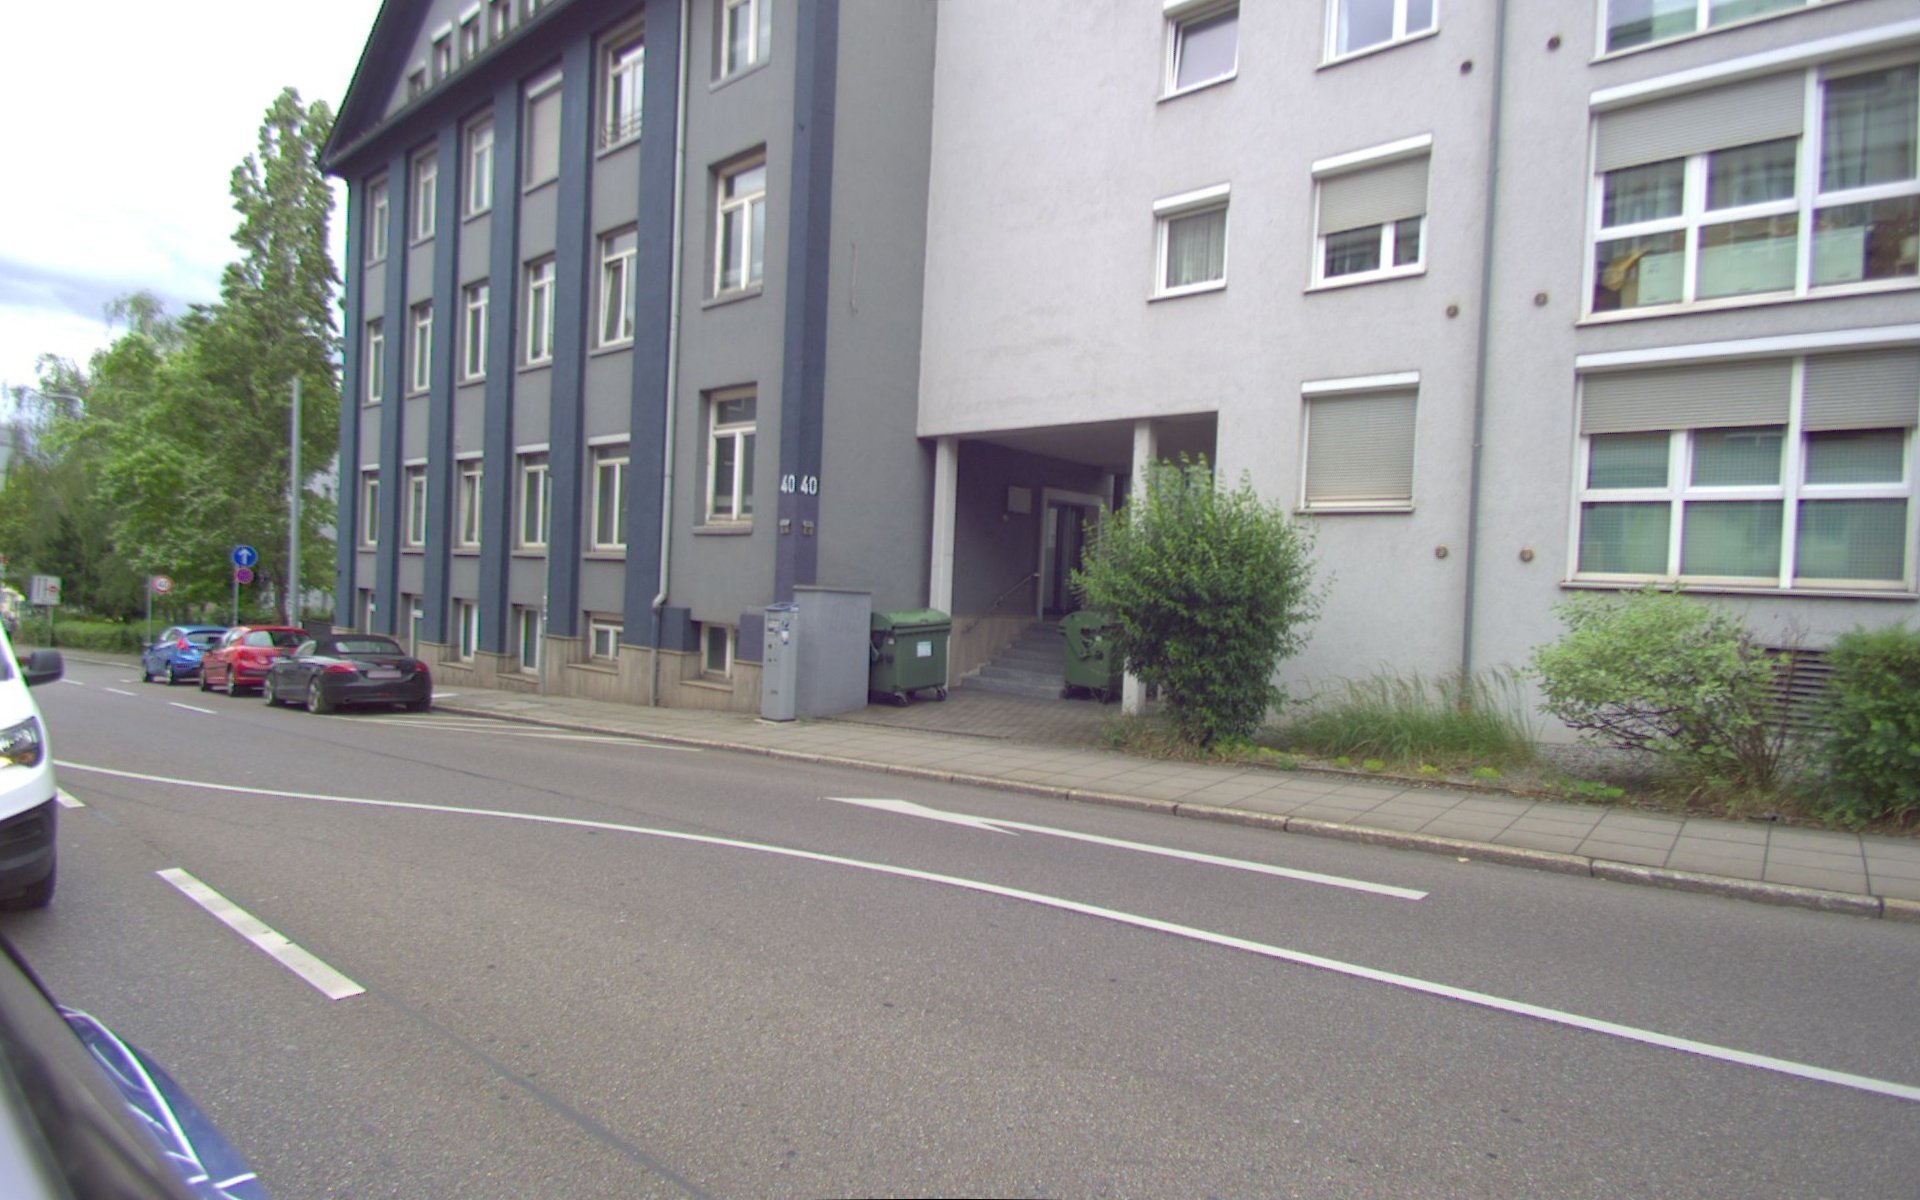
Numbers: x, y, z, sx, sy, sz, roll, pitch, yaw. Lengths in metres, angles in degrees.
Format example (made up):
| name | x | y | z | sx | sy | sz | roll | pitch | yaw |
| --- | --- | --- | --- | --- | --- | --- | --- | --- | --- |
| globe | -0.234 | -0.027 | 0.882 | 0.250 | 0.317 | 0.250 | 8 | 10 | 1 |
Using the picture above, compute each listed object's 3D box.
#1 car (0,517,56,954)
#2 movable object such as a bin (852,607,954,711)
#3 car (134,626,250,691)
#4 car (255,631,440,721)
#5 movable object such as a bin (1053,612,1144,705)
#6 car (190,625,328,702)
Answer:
| name | x | y | z | sx | sy | sz | roll | pitch | yaw |
| --- | --- | --- | --- | --- | --- | --- | --- | --- | --- |
| car | -6.128 | 0.614 | 5.214 | 3.998 | 1.901 | 1.716 | -1 | 0 | 41 |
| movable object such as a bin | -0.883 | 0.873 | 15.749 | 1.039 | 1.518 | 1.213 | -1 | 0 | 41 |
| car | -19.536 | 1.424 | 25.691 | 3.727 | 1.460 | 1.623 | -1 | 0 | 41 |
| car | -11.024 | 1.278 | 18.128 | 3.727 | 1.403 | 1.778 | -1 | -2 | 41 |
| movable object such as a bin | 2.265 | 0.927 | 16.569 | 1.078 | 1.427 | 1.026 | -1 | 0 | 41 |
| car | -15.318 | 1.315 | 22.060 | 3.727 | 1.460 | 1.623 | -1 | 0 | 41 |
